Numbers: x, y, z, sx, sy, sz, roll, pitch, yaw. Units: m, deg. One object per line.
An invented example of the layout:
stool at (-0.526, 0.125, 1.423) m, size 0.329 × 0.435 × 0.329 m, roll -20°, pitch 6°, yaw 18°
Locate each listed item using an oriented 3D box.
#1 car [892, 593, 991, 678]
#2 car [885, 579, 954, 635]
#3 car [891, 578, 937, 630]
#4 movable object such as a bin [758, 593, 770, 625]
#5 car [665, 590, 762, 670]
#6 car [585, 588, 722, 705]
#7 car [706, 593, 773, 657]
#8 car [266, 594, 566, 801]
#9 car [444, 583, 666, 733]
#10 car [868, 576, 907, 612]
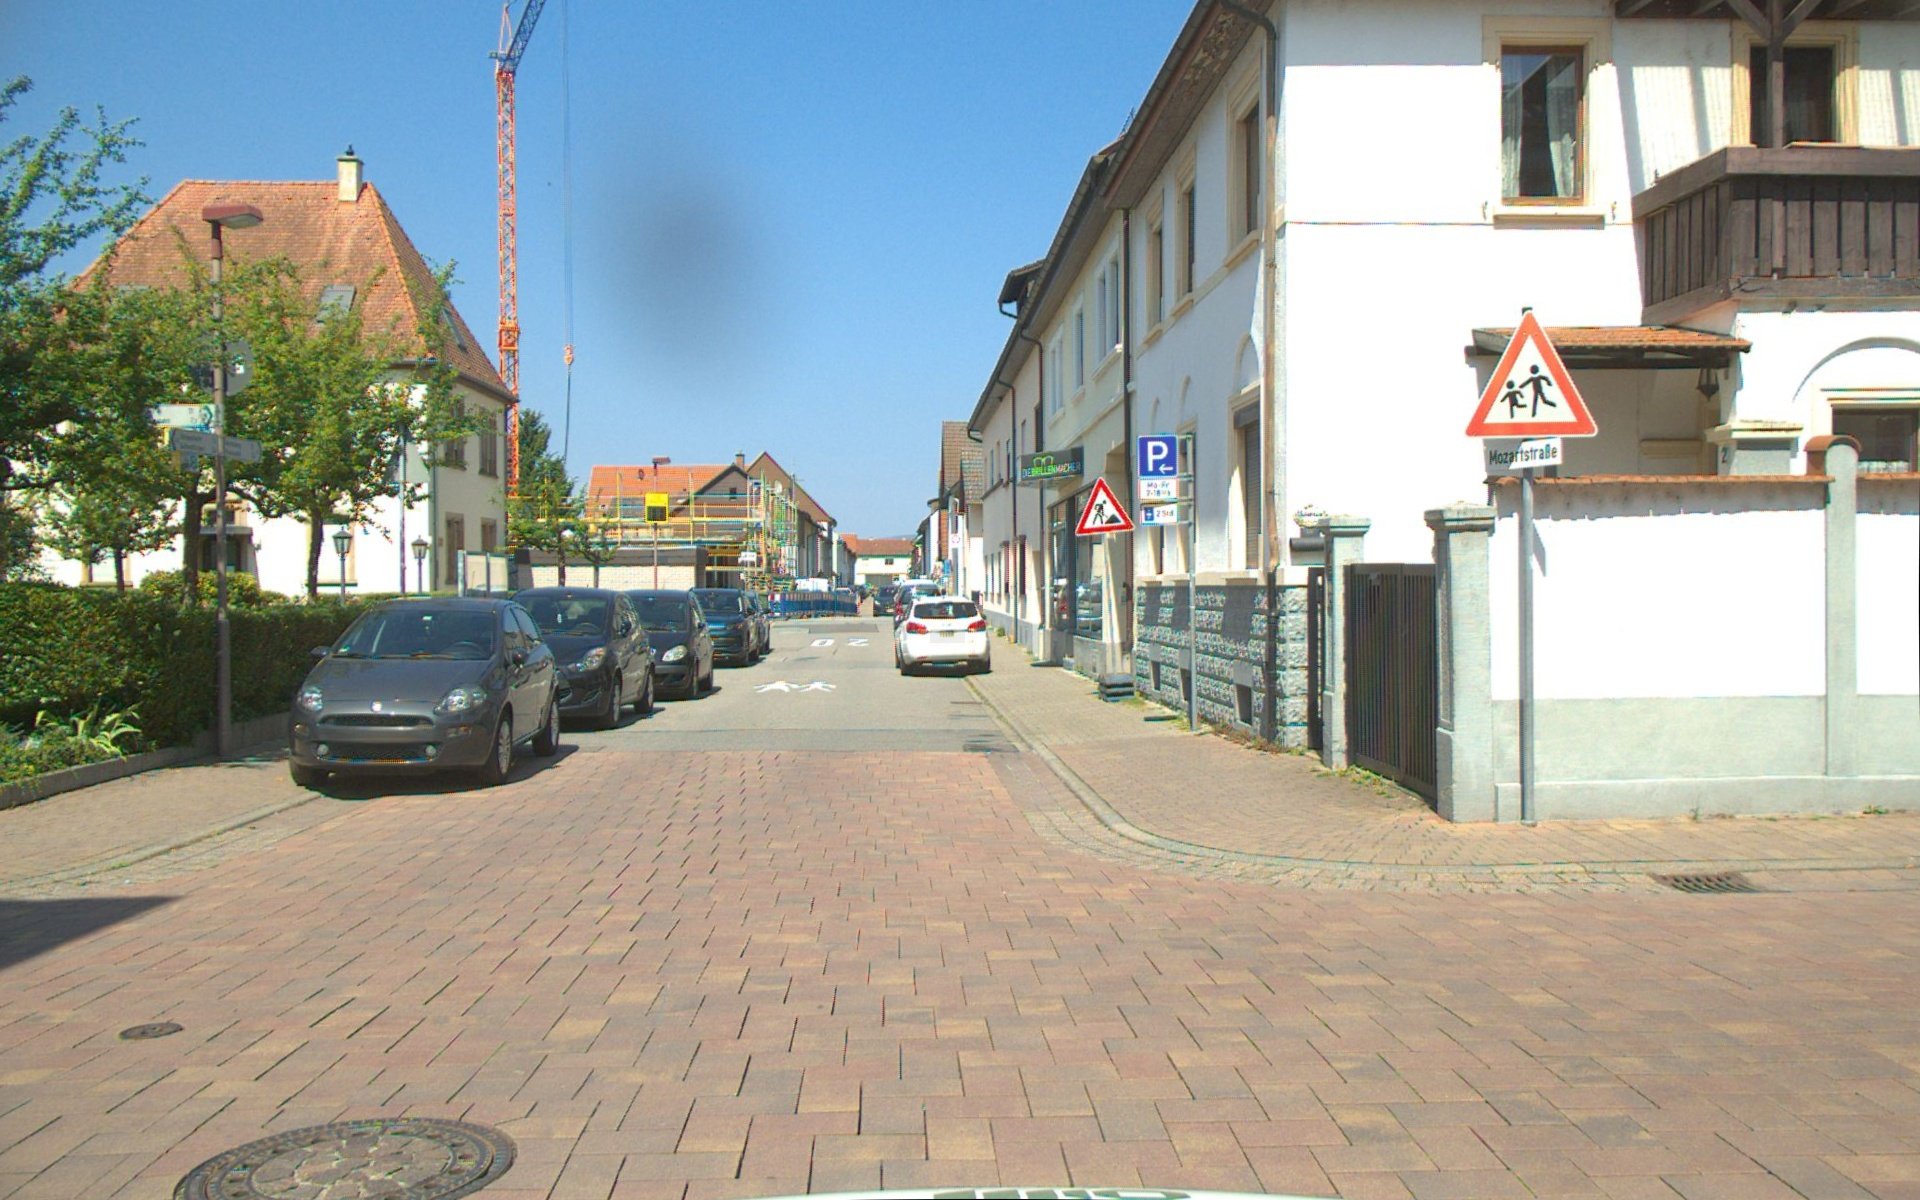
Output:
car at (-0.351, 0.650, 33.192) m, size 1.848 × 1.569 × 4.242 m, roll -1°, pitch 0°, yaw 0°
car at (-1.330, 0.198, 52.877) m, size 1.848 × 1.583 × 3.890 m, roll -4°, pitch 1°, yaw -5°
car at (-1.654, 0.105, 58.236) m, size 1.533 × 1.641 × 3.541 m, roll -1°, pitch 3°, yaw -3°
movable object such as a bin at (-7.322, 0.325, 61.784) m, size 0.424 × 1.176 × 0.363 m, roll -1°, pitch 0°, yaw -12°
car at (-5.414, 0.610, 36.700) m, size 1.790 × 1.659 × 4.213 m, roll -1°, pitch 0°, yaw -4°
car at (-4.727, 0.659, 25.943) m, size 1.605 × 1.657 × 3.766 m, roll -1°, pitch 1°, yaw -3°
car at (-5.575, 0.607, 42.128) m, size 1.408 × 1.500 × 3.784 m, roll 0°, pitch 1°, yaw -4°
car at (-4.557, 0.721, 14.410) m, size 1.669 × 1.523 × 3.852 m, roll -1°, pitch 0°, yaw -6°
car at (-4.825, 0.625, 20.261) m, size 1.778 × 1.633 × 4.023 m, roll -1°, pitch 0°, yaw -1°
car at (-3.594, -0.301, 81.477) m, size 1.844 × 1.697 × 4.151 m, roll 0°, pitch 0°, yaw -3°
